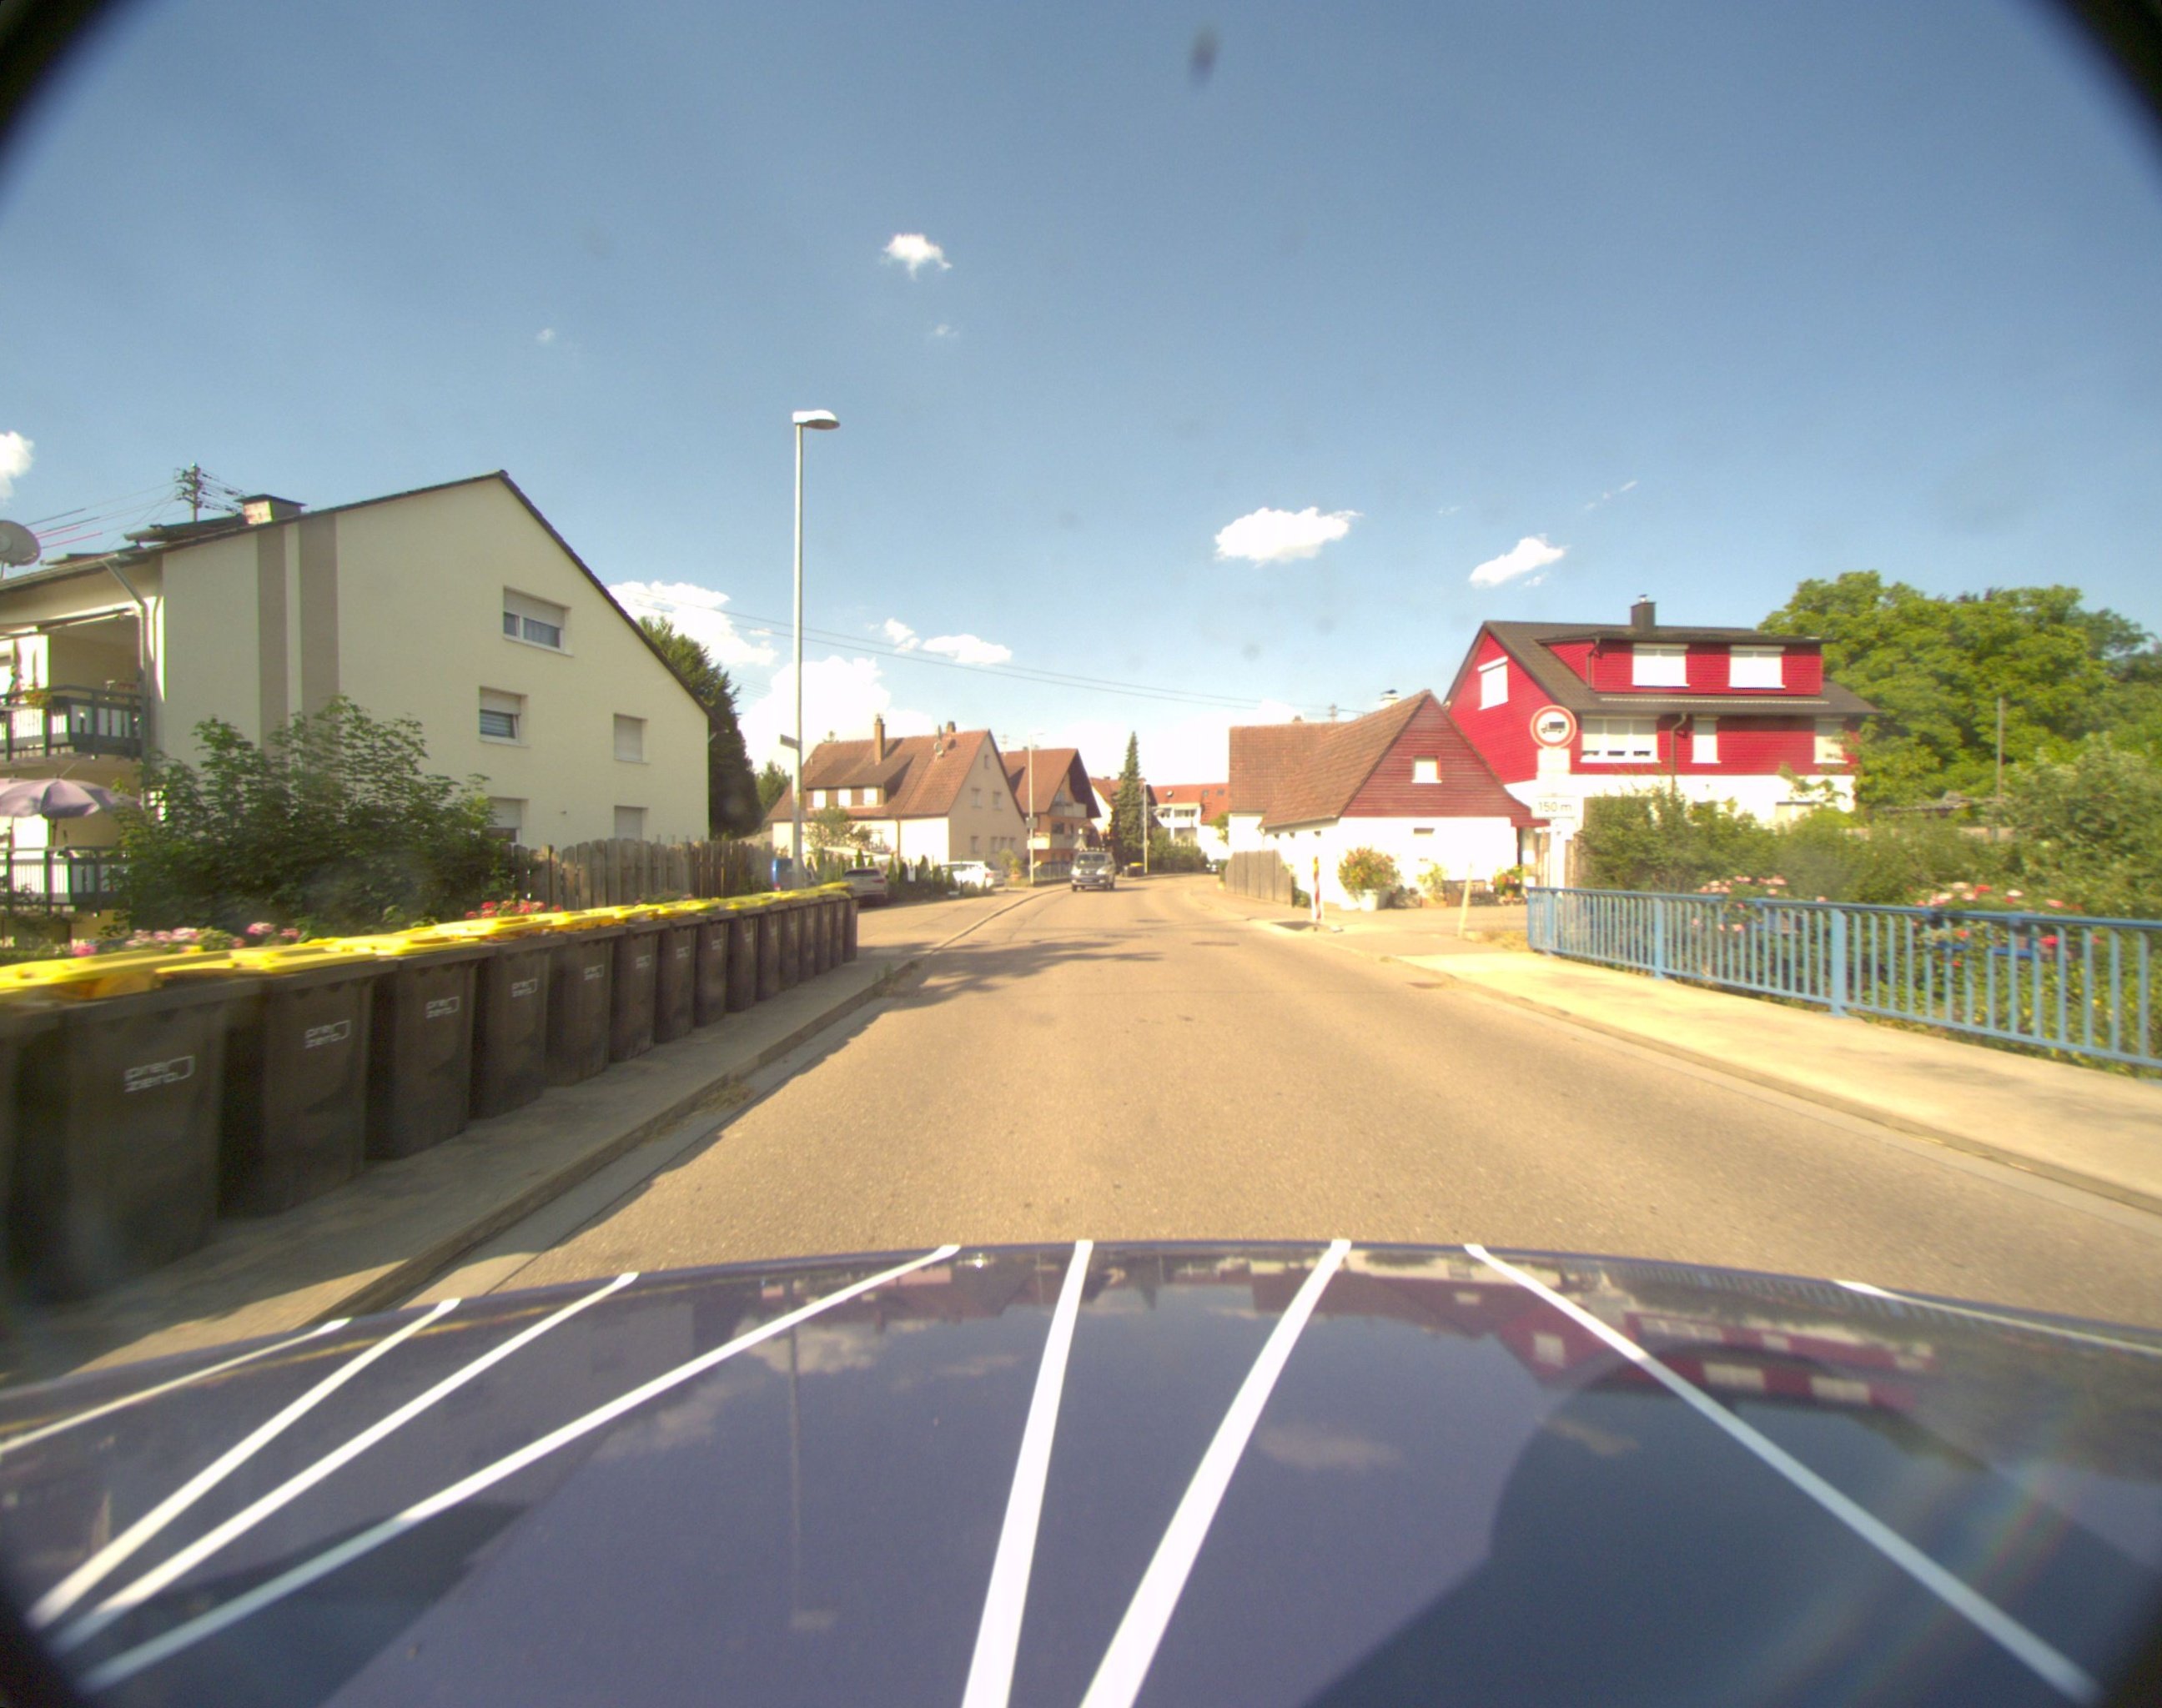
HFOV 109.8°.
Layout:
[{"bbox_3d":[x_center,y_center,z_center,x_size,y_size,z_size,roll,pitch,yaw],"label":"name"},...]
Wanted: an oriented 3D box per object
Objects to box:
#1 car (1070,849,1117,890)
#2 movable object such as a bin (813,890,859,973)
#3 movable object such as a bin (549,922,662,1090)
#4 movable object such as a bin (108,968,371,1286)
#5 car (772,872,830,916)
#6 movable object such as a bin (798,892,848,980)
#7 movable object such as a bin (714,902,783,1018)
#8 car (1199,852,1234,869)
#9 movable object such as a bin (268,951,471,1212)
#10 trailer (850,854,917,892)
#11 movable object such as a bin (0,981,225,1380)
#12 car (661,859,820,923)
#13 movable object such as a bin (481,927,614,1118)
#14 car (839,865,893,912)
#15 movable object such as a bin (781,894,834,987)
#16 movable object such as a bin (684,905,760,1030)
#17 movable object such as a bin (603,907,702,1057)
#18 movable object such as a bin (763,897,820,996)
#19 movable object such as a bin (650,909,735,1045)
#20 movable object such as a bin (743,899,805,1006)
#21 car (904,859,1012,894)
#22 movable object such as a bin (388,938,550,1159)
[{"bbox_3d":[0.723,0.792,39.345,1.818,1.988,4.825,-1,-1,8],"label":"car"},{"bbox_3d":[-3.501,1.096,10.905,0.480,1.136,0.538,0,1,-1],"label":"movable object such as a bin"},{"bbox_3d":[-3.488,1.092,5.605,0.480,1.136,0.538,0,1,-1],"label":"movable object such as a bin"},{"bbox_3d":[-3.469,1.085,3.175,0.480,1.136,0.538,0,1,-1],"label":"movable object such as a bin"},{"bbox_3d":[-11.344,1.585,31.027,1.766,1.535,3.672,-2,1,-14],"label":"car"},{"bbox_3d":[-3.506,1.098,10.351,0.480,1.136,0.538,0,1,-1],"label":"movable object such as a bin"},{"bbox_3d":[-3.485,1.096,7.998,0.480,1.136,0.538,0,1,-1],"label":"movable object such as a bin"},{"bbox_3d":[13.854,0.661,77.618,1.968,1.647,4.008,2,1,35],"label":"car"},{"bbox_3d":[-3.490,1.082,3.766,0.480,1.136,0.538,0,1,-1],"label":"movable object such as a bin"},{"bbox_3d":[-9.445,0.867,36.536,1.522,1.741,3.222,-1,0,22],"label":"trailer"},{"bbox_3d":[-3.470,1.045,2.589,0.480,1.136,0.538,0,1,-1],"label":"movable object such as a bin"},{"bbox_3d":[-10.246,1.085,22.896,4.205,1.777,1.769,-1,1,18],"label":"car"},{"bbox_3d":[-3.480,1.073,4.991,0.480,1.136,0.538,0,1,-1],"label":"movable object such as a bin"},{"bbox_3d":[-8.327,1.282,29.703,1.700,1.510,4.272,-4,1,-12],"label":"car"},{"bbox_3d":[-3.506,1.094,9.778,0.480,1.136,0.542,0,1,-1],"label":"movable object such as a bin"},{"bbox_3d":[-3.486,1.085,7.406,0.480,1.136,0.538,0,1,-1],"label":"movable object such as a bin"},{"bbox_3d":[-3.486,1.019,6.211,0.480,1.136,0.564,0,1,-1],"label":"movable object such as a bin"},{"bbox_3d":[-3.487,1.103,9.187,0.480,1.136,0.538,0,1,-1],"label":"movable object such as a bin"},{"bbox_3d":[-3.477,1.081,6.826,0.480,1.136,0.538,0,1,-1],"label":"movable object such as a bin"},{"bbox_3d":[-3.471,1.099,8.613,0.480,1.136,0.538,0,1,-1],"label":"movable object such as a bin"},{"bbox_3d":[-5.520,0.987,34.116,4.469,1.450,1.733,-1,1,19],"label":"car"},{"bbox_3d":[-3.499,1.081,4.381,0.480,1.136,0.538,0,1,-1],"label":"movable object such as a bin"}]
